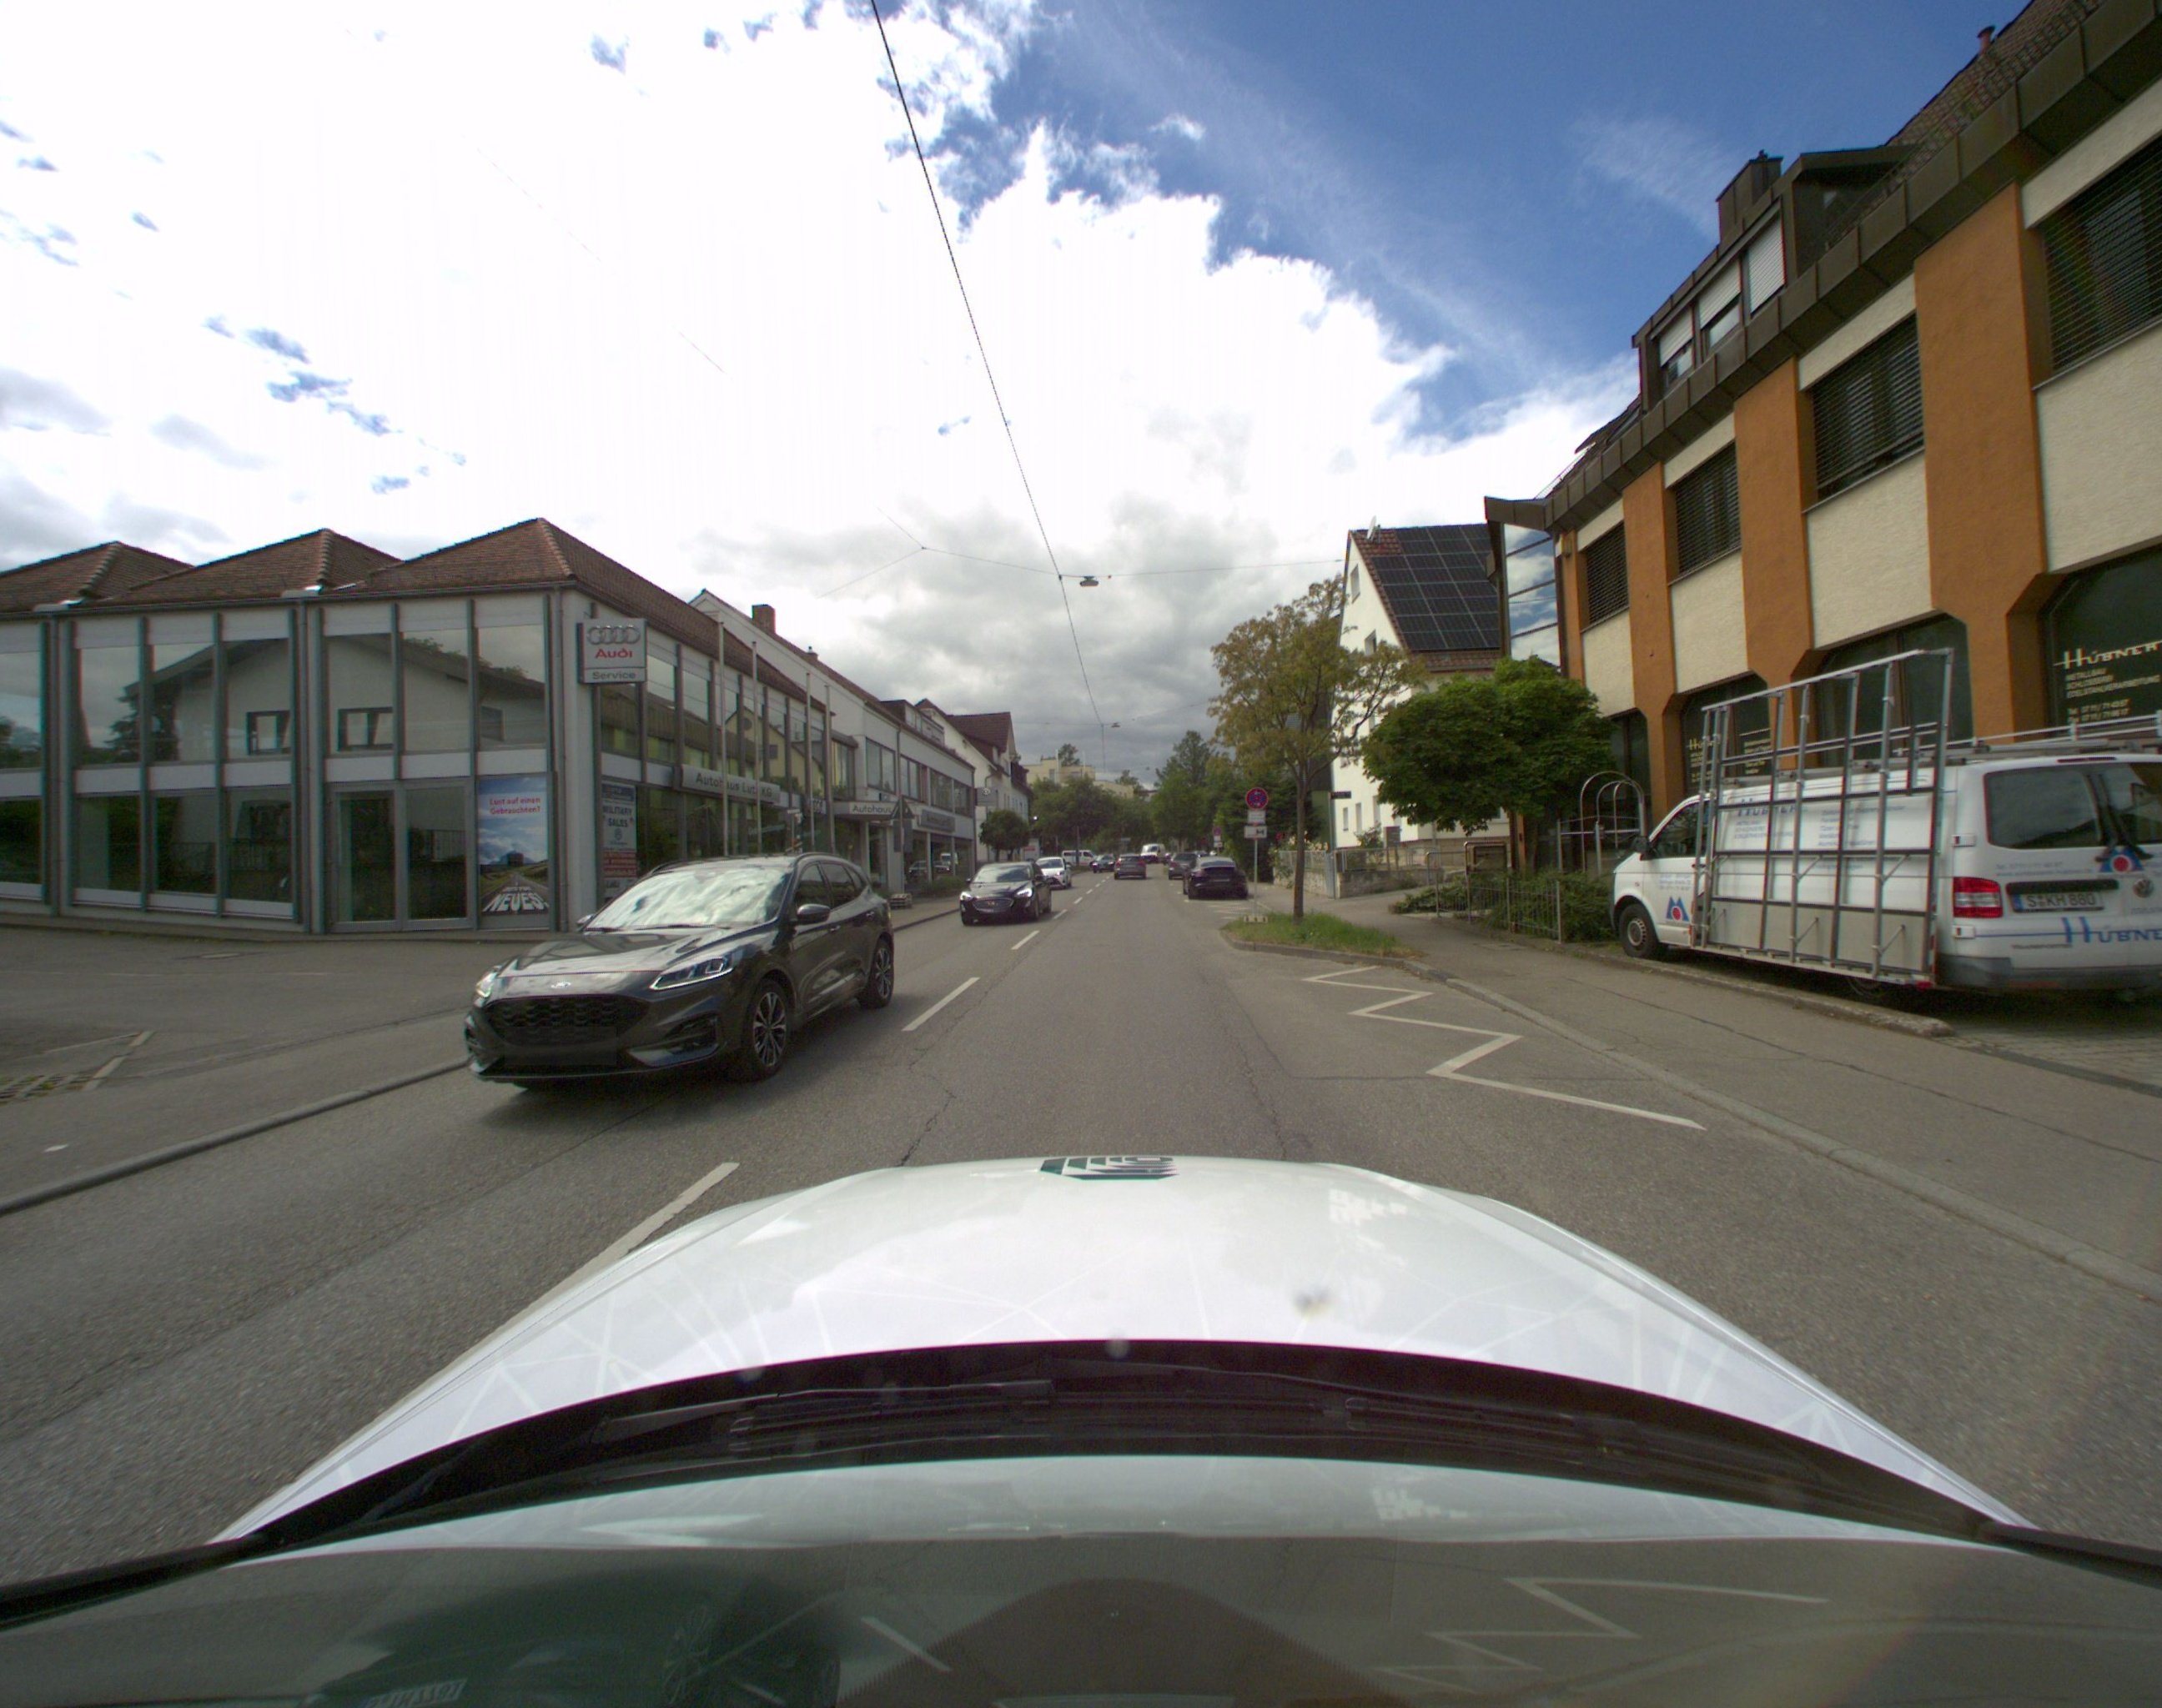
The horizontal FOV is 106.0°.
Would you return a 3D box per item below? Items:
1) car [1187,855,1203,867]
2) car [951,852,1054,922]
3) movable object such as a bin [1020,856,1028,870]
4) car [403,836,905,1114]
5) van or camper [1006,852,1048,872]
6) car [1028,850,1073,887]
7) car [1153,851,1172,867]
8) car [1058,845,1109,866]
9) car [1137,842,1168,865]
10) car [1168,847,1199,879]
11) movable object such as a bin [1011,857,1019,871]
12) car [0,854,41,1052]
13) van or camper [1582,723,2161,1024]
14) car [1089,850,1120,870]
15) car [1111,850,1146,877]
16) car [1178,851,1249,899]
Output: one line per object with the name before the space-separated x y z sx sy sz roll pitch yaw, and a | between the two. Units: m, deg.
car | 16.059 0.981 114.727 1.675 1.482 4.243 -5 -1 14
car | -1.845 0.767 20.426 1.823 1.523 4.175 -2 -1 4
movable object such as a bin | -4.603 0.756 65.759 0.563 1.101 0.563 0 -1 0
car | -3.054 0.730 7.073 1.823 1.630 4.325 -2 0 3
van or camper | -5.568 0.826 84.608 1.767 1.994 4.407 -3 -2 39
car | -1.376 0.689 38.303 1.683 1.579 3.803 -2 -1 3
car | 8.404 0.522 84.009 1.609 1.523 3.570 -2 -1 1
car | 0.263 0.202 90.988 5.167 1.993 2.119 -4 -1 21
car | 8.400 -0.077 94.699 2.045 2.353 5.210 -5 0 21
car | 5.939 0.484 47.469 1.681 1.666 4.470 -2 1 6
movable object such as a bin | -5.334 0.786 65.713 0.563 1.101 0.563 0 -1 0
car | -10.931 0.799 6.179 3.997 1.630 1.655 1 0 2
van or camper | 7.028 0.170 7.785 1.859 2.032 4.551 -1 -1 3
car | 2.022 0.452 67.632 1.764 1.523 4.476 -3 0 11
car | 2.845 0.573 48.407 1.948 1.523 4.332 -2 -1 3
car | 4.483 0.699 28.256 1.975 1.448 4.756 -2 -1 4
